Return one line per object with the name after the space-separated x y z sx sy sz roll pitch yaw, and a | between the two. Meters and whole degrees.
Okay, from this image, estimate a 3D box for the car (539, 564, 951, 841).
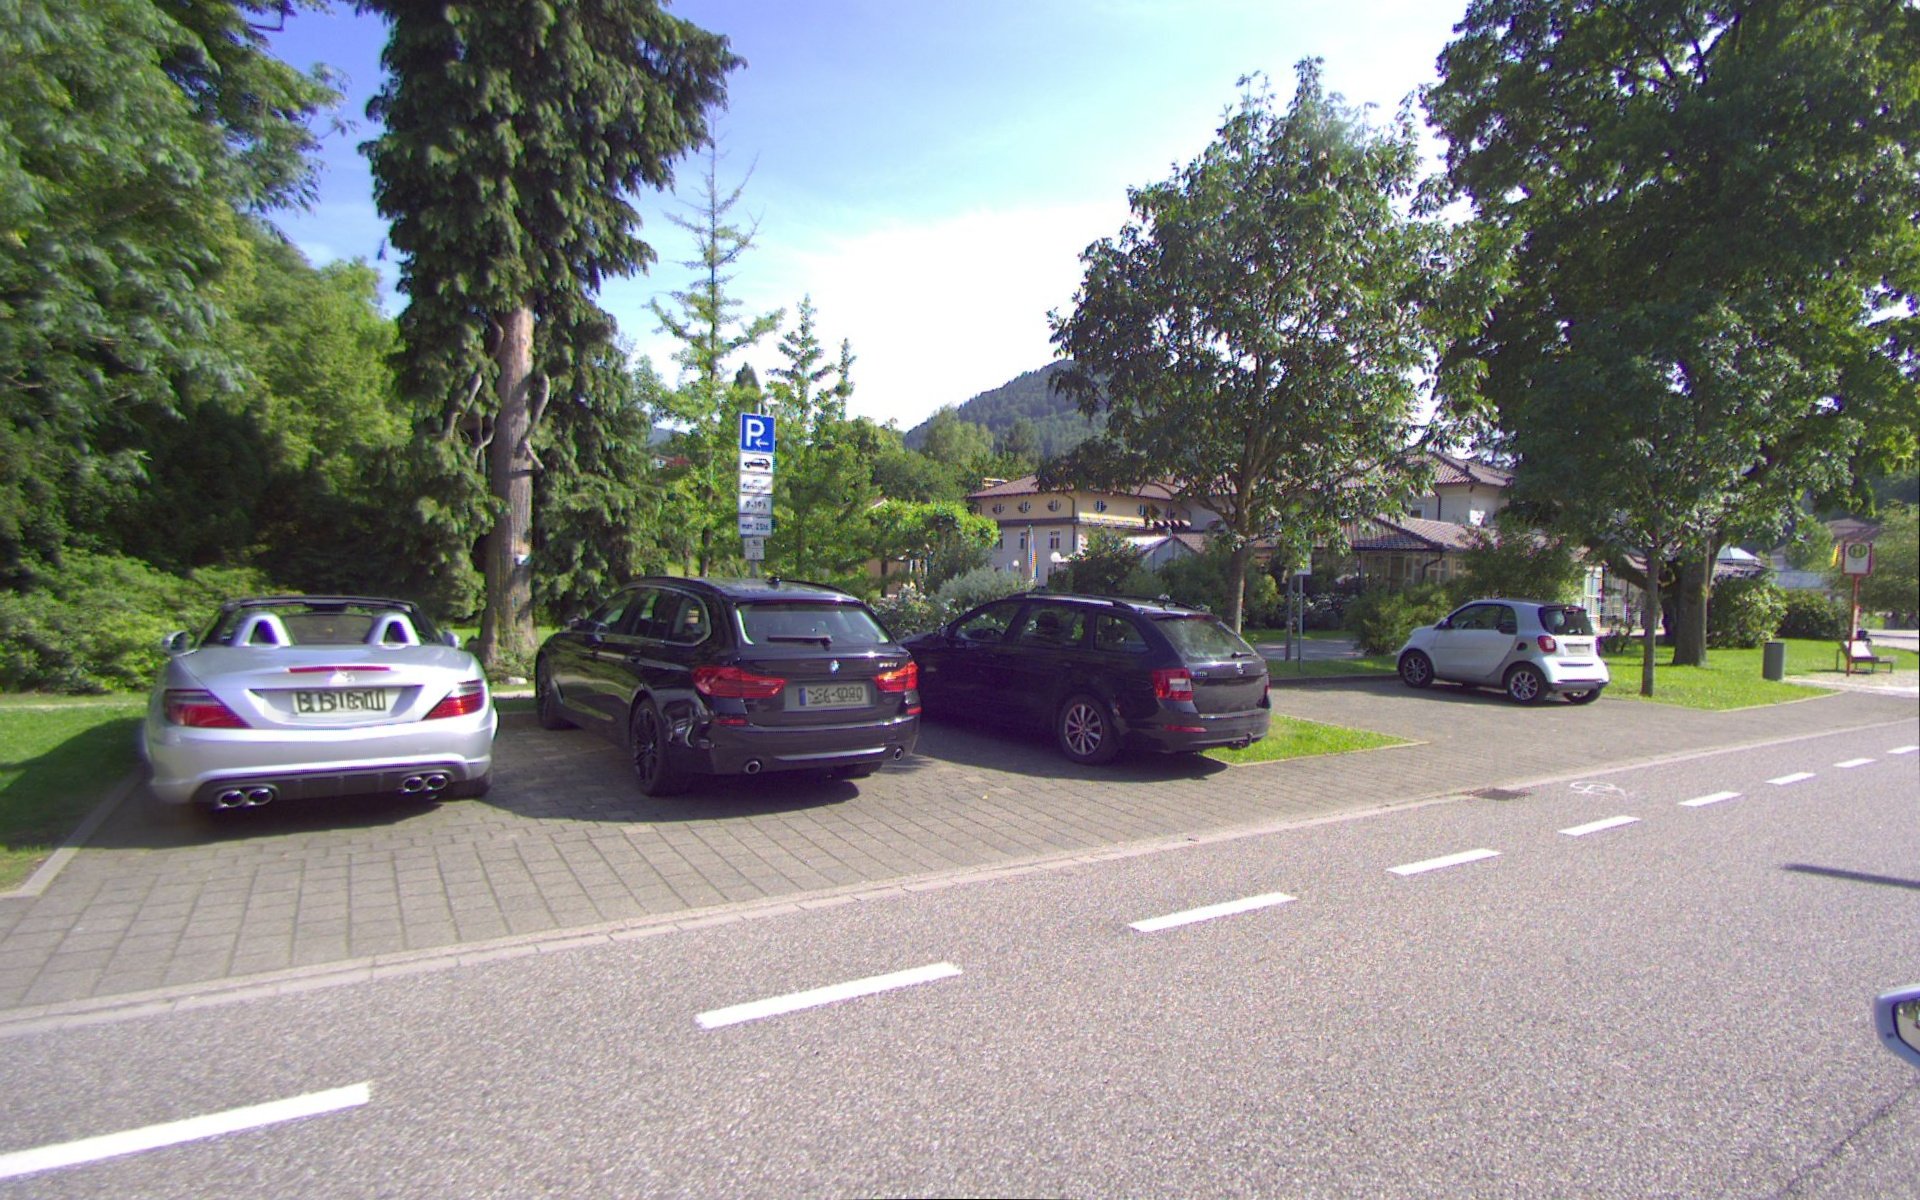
-2.042 0.551 8.221 1.696 1.530 4.464 1 3 -35 | car

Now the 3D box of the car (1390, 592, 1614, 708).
8.632 0.741 16.162 1.661 1.567 2.639 2 3 -28 | car

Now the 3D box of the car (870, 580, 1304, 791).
1.026 0.646 10.011 1.699 1.451 4.239 1 3 -40 | car

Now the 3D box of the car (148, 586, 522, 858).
-4.443 0.617 7.132 1.745 1.259 3.768 1 2 -35 | car
